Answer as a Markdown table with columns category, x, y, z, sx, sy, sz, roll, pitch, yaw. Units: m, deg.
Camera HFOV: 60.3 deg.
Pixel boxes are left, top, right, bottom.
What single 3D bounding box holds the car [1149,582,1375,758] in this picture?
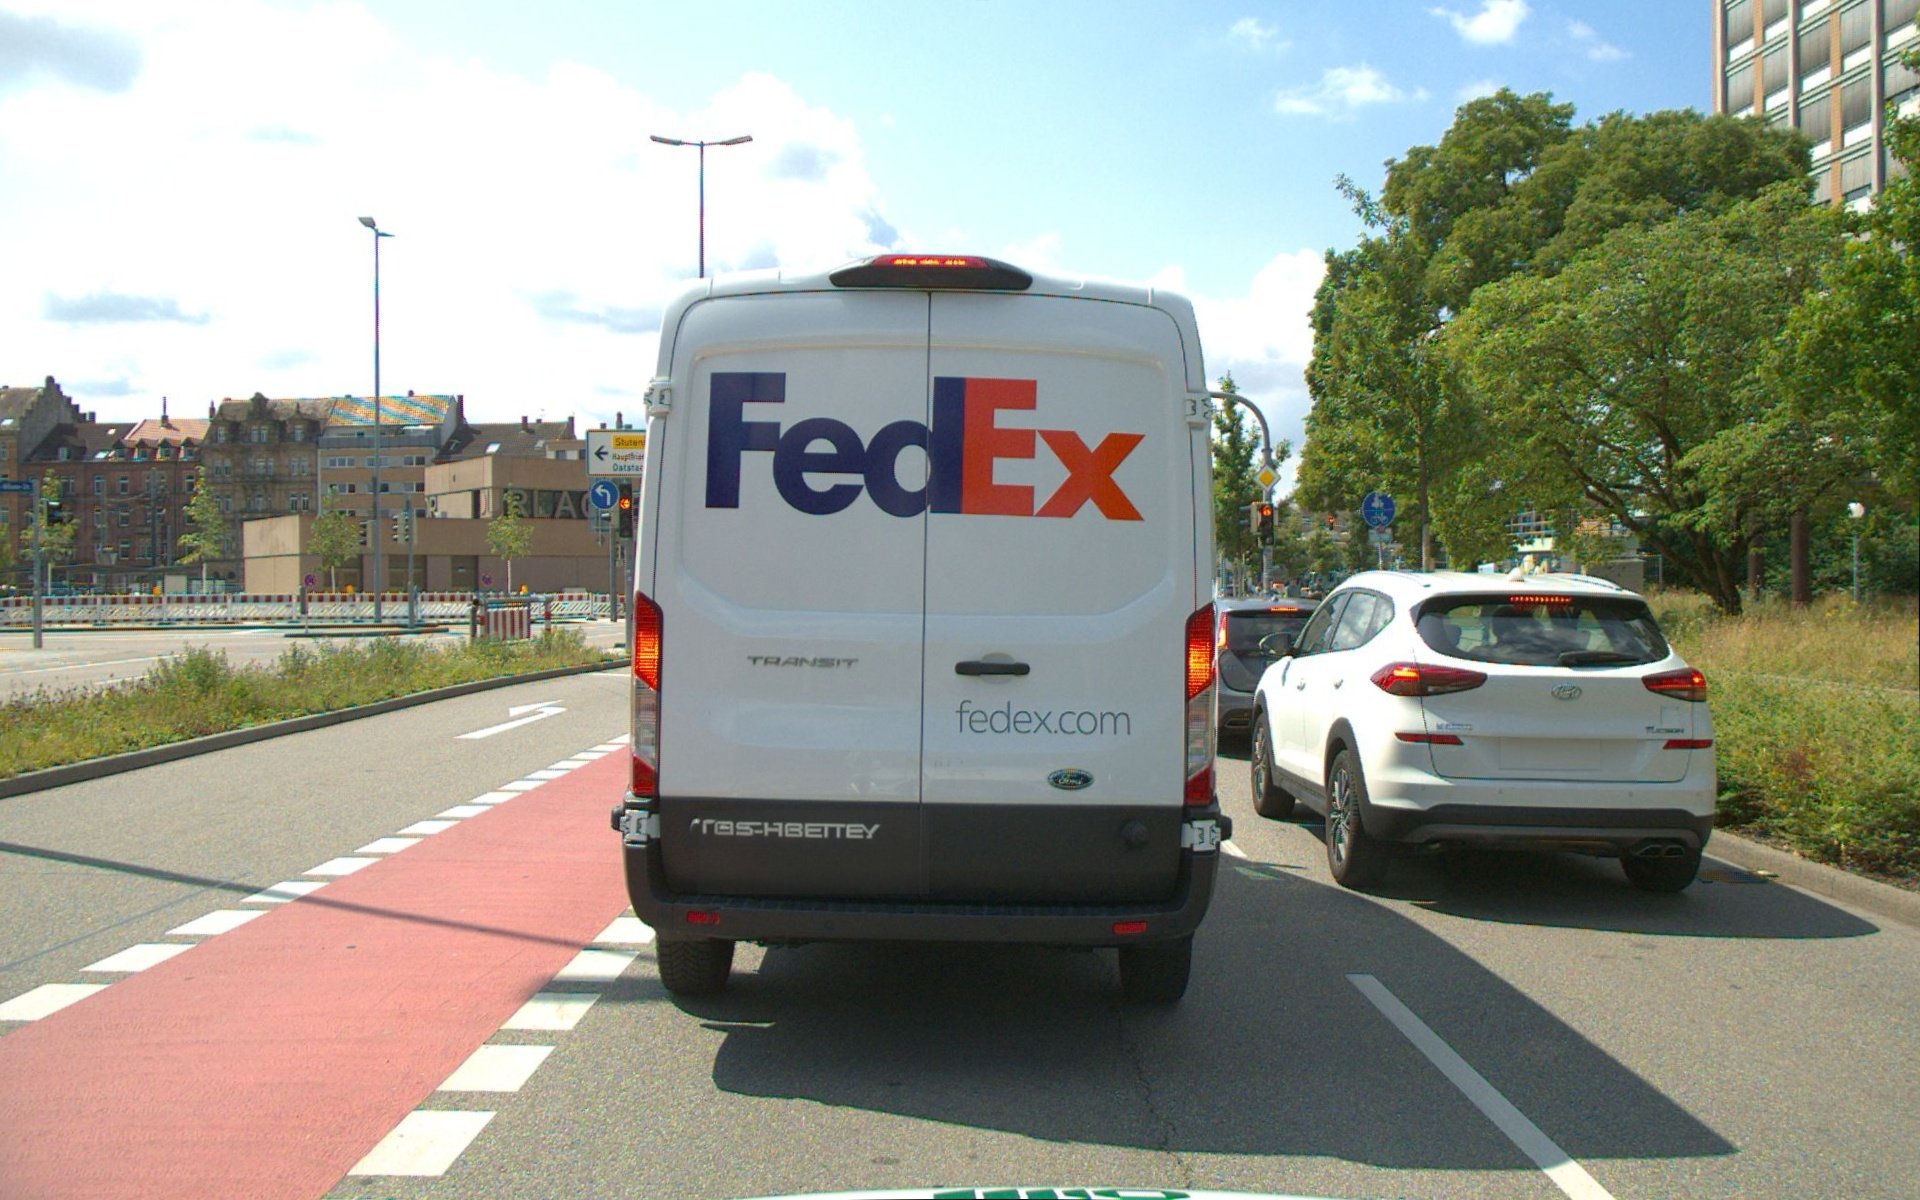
| category | x | y | z | sx | sy | sz | roll | pitch | yaw |
| --- | --- | --- | --- | --- | --- | --- | --- | --- | --- |
| car | 2.948 | 0.613 | 16.843 | 1.656 | 1.576 | 3.721 | 0 | 1 | 1 |

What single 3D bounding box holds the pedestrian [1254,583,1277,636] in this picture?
| category | x | y | z | sx | sy | sz | roll | pitch | yaw |
| --- | --- | --- | --- | --- | --- | --- | --- | --- | --- |
| pedestrian | 10.942 | 0.345 | 59.200 | 0.742 | 1.882 | 0.817 | 0 | 0 | 14 |

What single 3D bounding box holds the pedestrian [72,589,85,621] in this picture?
| category | x | y | z | sx | sy | sz | roll | pitch | yaw |
| --- | --- | --- | --- | --- | --- | --- | --- | --- | --- |
| pedestrian | -46.687 | 0.268 | 87.625 | 0.416 | 1.681 | 0.416 | 1 | -1 | 33 |

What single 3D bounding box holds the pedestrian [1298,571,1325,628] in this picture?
| category | x | y | z | sx | sy | sz | roll | pitch | yaw |
| --- | --- | --- | --- | --- | --- | --- | --- | --- | --- |
| pedestrian | 11.707 | -0.007 | 55.066 | 0.743 | 1.882 | 0.816 | 0 | 0 | 3 |

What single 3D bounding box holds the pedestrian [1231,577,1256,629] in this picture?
| category | x | y | z | sx | sy | sz | roll | pitch | yaw |
| --- | --- | --- | --- | --- | --- | --- | --- | --- | --- |
| pedestrian | 10.259 | 0.110 | 59.955 | 0.796 | 1.882 | 0.761 | 0 | 0 | 2 |

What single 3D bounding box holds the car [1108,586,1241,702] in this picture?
| category | x | y | z | sx | sy | sz | roll | pitch | yaw |
| --- | --- | --- | --- | --- | --- | --- | --- | --- | --- |
| car | 2.950 | 0.565 | 23.299 | 1.468 | 1.489 | 3.474 | 0 | 1 | 1 |

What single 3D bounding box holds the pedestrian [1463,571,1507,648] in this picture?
| category | x | y | z | sx | sy | sz | roll | pitch | yaw |
| --- | --- | --- | --- | --- | --- | --- | --- | --- | --- |
| pedestrian | 11.602 | 0.204 | 36.552 | 0.743 | 1.684 | 0.816 | 0 | 0 | 3 |

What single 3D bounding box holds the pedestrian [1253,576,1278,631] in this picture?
| category | x | y | z | sx | sy | sz | roll | pitch | yaw |
| --- | --- | --- | --- | --- | --- | --- | --- | --- | --- |
| pedestrian | 10.503 | 0.105 | 56.837 | 0.743 | 1.882 | 0.816 | 0 | 0 | 18 |

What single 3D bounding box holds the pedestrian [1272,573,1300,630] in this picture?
| category | x | y | z | sx | sy | sz | roll | pitch | yaw |
| --- | --- | --- | --- | --- | --- | --- | --- | --- | --- |
| pedestrian | 10.771 | 0.042 | 54.686 | 0.743 | 1.882 | 0.816 | 0 | 0 | 1 |

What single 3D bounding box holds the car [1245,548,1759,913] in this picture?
| category | x | y | z | sx | sy | sz | roll | pitch | yaw |
| --- | --- | --- | --- | --- | --- | --- | --- | --- | --- |
| car | 2.896 | 0.591 | 9.778 | 1.777 | 1.708 | 3.974 | 0 | 1 | 1 |

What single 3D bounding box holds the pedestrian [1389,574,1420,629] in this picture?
| category | x | y | z | sx | sy | sz | roll | pitch | yaw |
| --- | --- | --- | --- | --- | --- | --- | --- | --- | --- |
| pedestrian | 15.152 | 0.046 | 56.359 | 0.745 | 1.882 | 0.814 | 0 | 0 | -9 |

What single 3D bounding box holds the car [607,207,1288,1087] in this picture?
| category | x | y | z | sx | sy | sz | roll | pitch | yaw |
| --- | --- | --- | --- | --- | --- | --- | --- | --- | --- |
| car | -0.008 | 0.118 | 7.177 | 2.030 | 2.626 | 4.428 | 0 | 1 | 1 |

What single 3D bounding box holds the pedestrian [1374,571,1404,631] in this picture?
| category | x | y | z | sx | sy | sz | roll | pitch | yaw |
| --- | --- | --- | --- | --- | --- | --- | --- | --- | --- |
| pedestrian | 13.024 | 0.024 | 50.204 | 0.743 | 1.820 | 0.816 | 0 | 0 | 4 |

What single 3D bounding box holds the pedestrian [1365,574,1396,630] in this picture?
| category | x | y | z | sx | sy | sz | roll | pitch | yaw |
| --- | --- | --- | --- | --- | --- | --- | --- | --- | --- |
| pedestrian | 14.274 | 0.058 | 56.200 | 0.745 | 1.882 | 0.814 | -1 | 0 | -11 |

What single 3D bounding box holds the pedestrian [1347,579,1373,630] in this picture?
| category | x | y | z | sx | sy | sz | roll | pitch | yaw |
| --- | --- | --- | --- | --- | --- | --- | --- | --- | --- |
| pedestrian | 14.704 | 0.164 | 60.798 | 0.743 | 1.882 | 0.816 | 0 | 0 | 0 |

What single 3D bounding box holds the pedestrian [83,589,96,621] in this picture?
| category | x | y | z | sx | sy | sz | roll | pitch | yaw |
| --- | --- | --- | --- | --- | --- | --- | --- | --- | --- |
| pedestrian | -45.816 | 0.280 | 87.072 | 0.416 | 1.681 | 0.416 | 1 | -1 | 33 |
